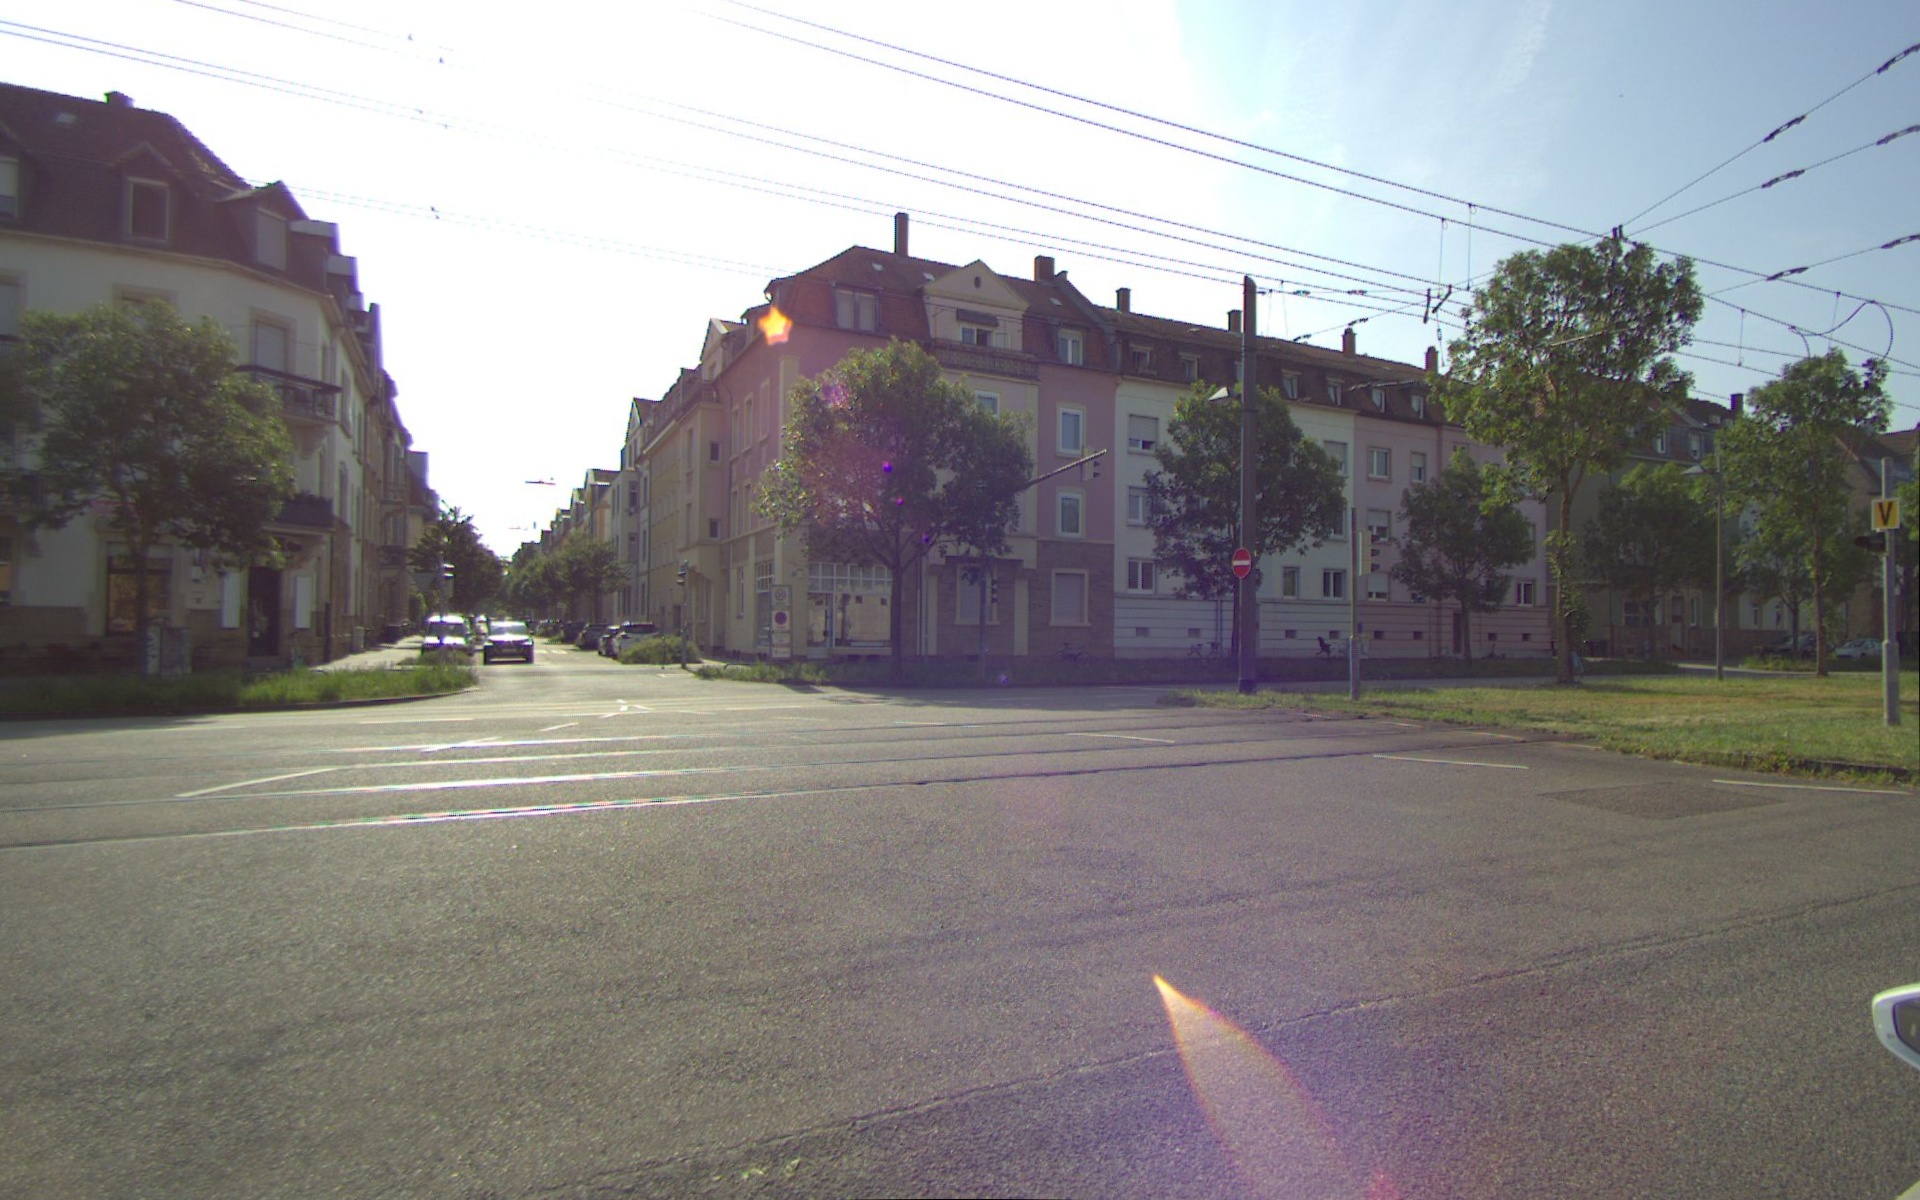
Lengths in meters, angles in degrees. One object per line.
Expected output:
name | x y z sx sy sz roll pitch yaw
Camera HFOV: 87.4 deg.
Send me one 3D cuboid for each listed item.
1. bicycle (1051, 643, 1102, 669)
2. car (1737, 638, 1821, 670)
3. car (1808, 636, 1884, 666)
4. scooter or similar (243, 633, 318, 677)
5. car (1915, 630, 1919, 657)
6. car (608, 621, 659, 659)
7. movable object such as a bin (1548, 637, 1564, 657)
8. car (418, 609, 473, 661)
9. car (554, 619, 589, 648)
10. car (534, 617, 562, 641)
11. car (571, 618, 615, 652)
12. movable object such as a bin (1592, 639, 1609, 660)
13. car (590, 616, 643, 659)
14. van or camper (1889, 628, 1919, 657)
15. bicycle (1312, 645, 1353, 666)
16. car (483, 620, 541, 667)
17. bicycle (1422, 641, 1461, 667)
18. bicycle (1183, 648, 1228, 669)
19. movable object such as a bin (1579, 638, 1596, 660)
bicycle | 4.342 2.086 37.306 1.923 0.901 0.465 2 0 -28
car | 45.625 2.997 55.936 4.715 1.650 1.985 1 0 -28
car | 51.311 2.939 58.168 4.103 1.650 1.883 1 0 -27
scooter or similar | -17.837 1.417 26.371 0.731 1.083 1.480 2 0 42
car | 60.908 2.762 60.488 2.015 1.645 5.224 2 0 4
car | -14.367 1.742 44.100 1.550 1.481 3.384 2 0 -28
movable object such as a bin | 36.737 2.908 61.929 0.632 1.227 0.583 2 0 -28
car | -20.554 1.358 40.101 1.811 1.874 3.971 2 0 -28
car | -27.353 2.347 70.586 1.811 1.874 3.971 2 0 -28
car | -35.564 2.496 86.718 1.811 1.874 3.971 2 -1 -28
car | -21.073 2.021 57.555 1.811 1.873 3.972 2 -3 -28
movable object such as a bin | 37.979 2.951 59.586 0.632 1.227 0.583 2 0 -28
car | -16.692 1.770 48.754 1.811 1.874 3.971 2 0 -28
van or camper | 58.498 2.602 59.922 1.962 1.645 4.853 2 0 7
bicycle | 16.056 2.412 43.276 1.923 0.868 0.445 2 0 -28
car | -17.937 1.694 40.141 1.811 1.642 3.971 2 0 -28
bicycle | 22.253 2.483 46.415 1.923 1.143 0.601 2 0 -28
bicycle | 9.847 2.344 40.250 1.923 0.799 0.435 2 0 -28
movable object such as a bin | 37.592 2.937 60.189 0.632 1.227 0.583 2 0 -28
